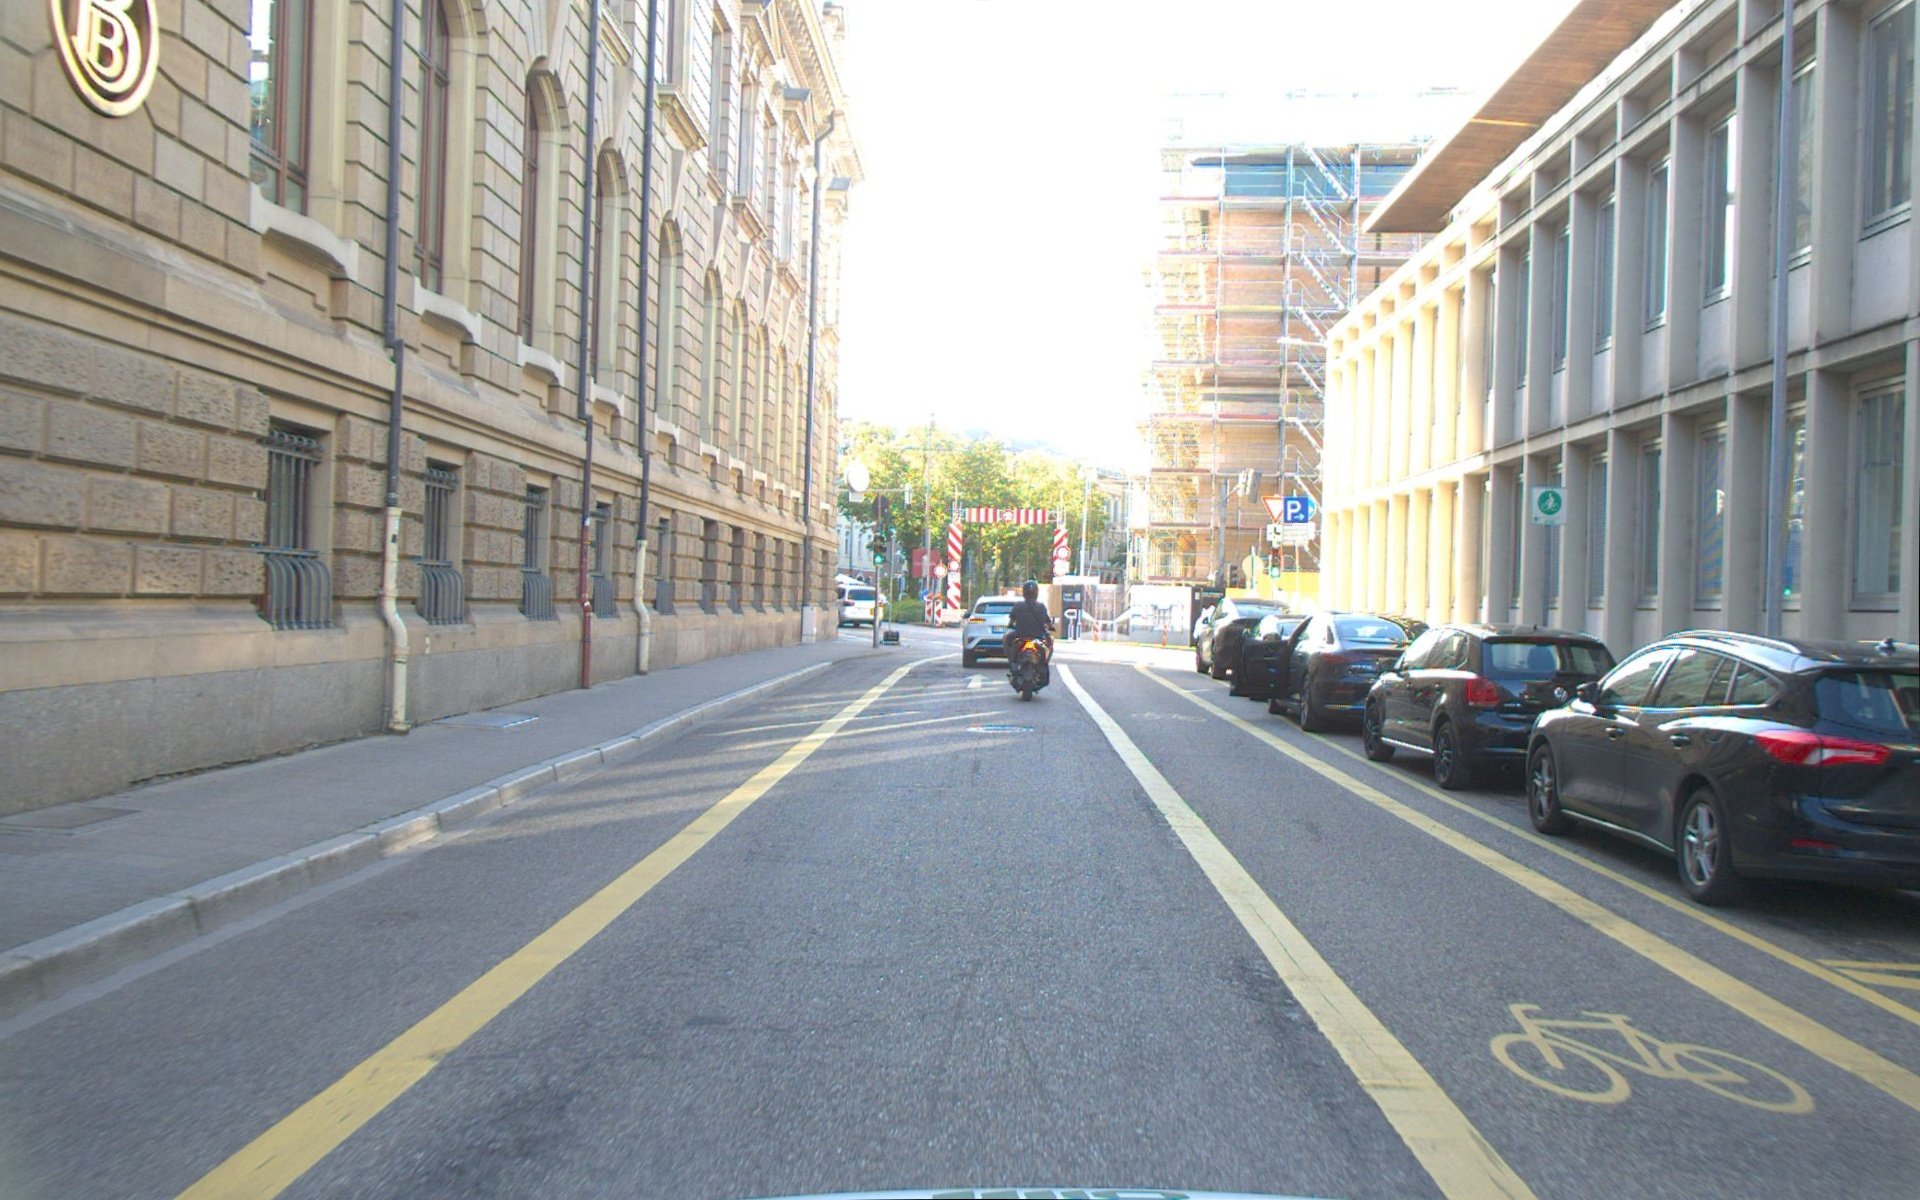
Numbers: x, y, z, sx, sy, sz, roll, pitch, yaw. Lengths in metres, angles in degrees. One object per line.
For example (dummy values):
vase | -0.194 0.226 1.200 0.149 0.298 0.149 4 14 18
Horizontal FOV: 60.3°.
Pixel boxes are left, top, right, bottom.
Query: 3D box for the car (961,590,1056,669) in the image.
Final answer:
car | 1.120 0.618 36.224 1.784 1.568 4.266 2 0 5

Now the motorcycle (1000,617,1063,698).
motorcycle | 1.033 0.827 24.185 0.854 1.129 1.839 1 -1 1

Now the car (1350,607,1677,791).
car | 5.084 0.847 15.832 1.744 1.505 4.289 1 -1 1

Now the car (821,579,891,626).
car | -4.369 0.051 69.122 1.962 1.693 4.339 -2 3 -17

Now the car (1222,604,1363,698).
car | 5.686 0.857 28.779 1.786 1.423 4.481 3 -1 4

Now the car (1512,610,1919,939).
car | 4.970 0.882 10.125 1.746 1.505 4.289 3 0 1

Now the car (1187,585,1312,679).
car | 5.966 0.598 34.586 1.787 1.728 4.667 3 1 1

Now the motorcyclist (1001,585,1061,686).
motorcyclist | 1.036 0.518 24.292 0.849 1.452 0.455 1 -1 -1

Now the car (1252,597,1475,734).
car | 5.169 0.786 21.842 1.787 1.527 4.737 3 0 1
